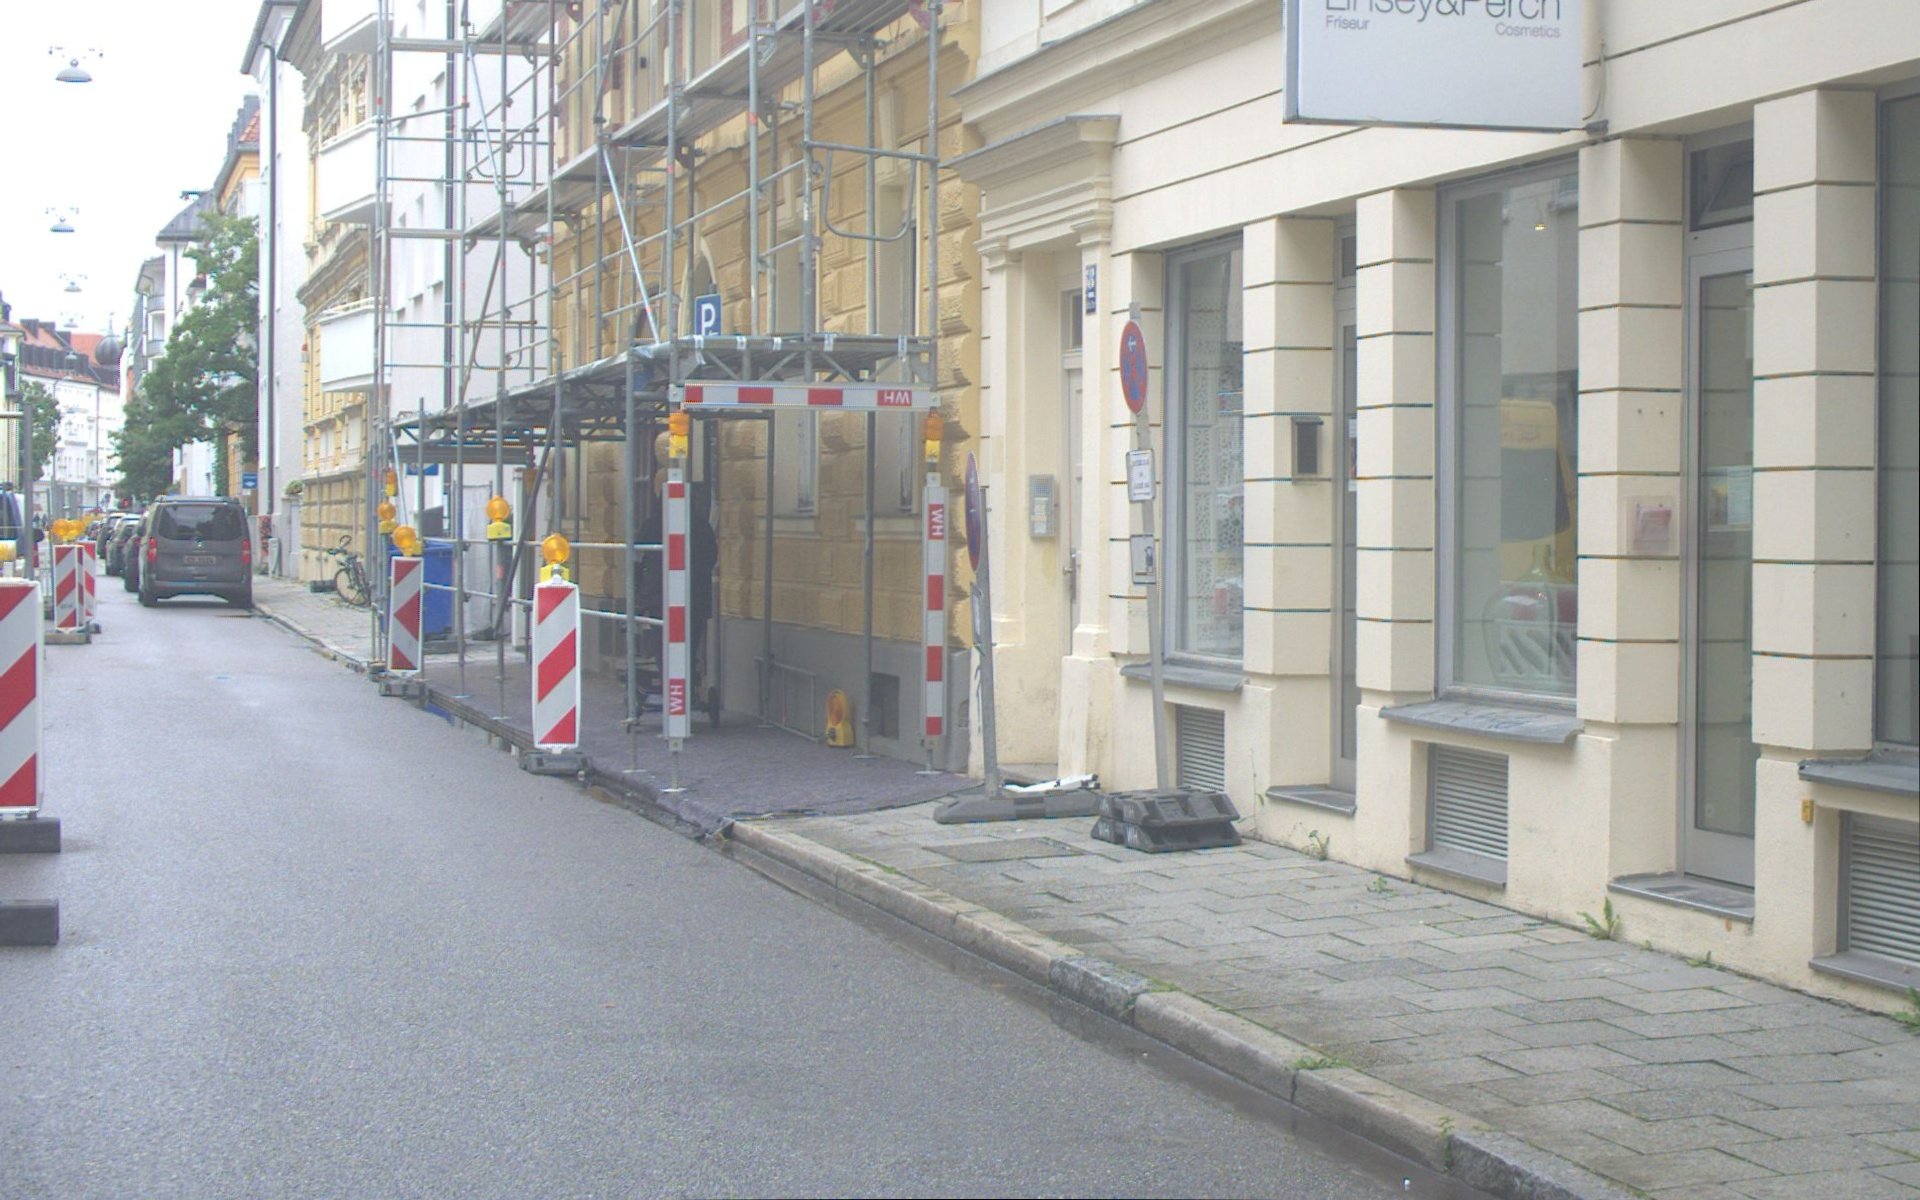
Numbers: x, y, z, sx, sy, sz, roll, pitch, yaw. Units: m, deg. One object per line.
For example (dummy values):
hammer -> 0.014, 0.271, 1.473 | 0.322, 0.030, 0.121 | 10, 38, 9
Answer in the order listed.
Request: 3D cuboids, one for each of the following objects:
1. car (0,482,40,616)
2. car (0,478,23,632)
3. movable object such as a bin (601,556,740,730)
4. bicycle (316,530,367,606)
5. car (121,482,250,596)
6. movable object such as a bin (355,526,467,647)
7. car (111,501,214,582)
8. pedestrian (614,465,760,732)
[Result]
car -> -14.732, -0.779, 50.866 | 1.904, 1.891, 5.091 | 0, 1, -18
car -> -13.167, -0.596, 44.847 | 1.726, 1.891, 5.511 | -2, 2, -15
movable object such as a bin -> -2.043, 0.289, 24.197 | 0.729, 1.137, 0.988 | -4, 2, -15
bicycle -> -10.032, -0.534, 55.717 | 0.638, 1.149, 1.916 | -3, 3, -14
car -> -13.966, -1.118, 61.846 | 1.993, 1.925, 4.661 | 2, 1, -15
movable object such as a bin -> -6.474, -0.174, 40.611 | 1.086, 1.341, 1.318 | -2, 2, -2
car -> -16.559, -1.232, 71.265 | 1.893, 1.635, 4.323 | 0, 2, -15
pedestrian -> -1.878, -0.024, 23.569 | 0.729, 1.746, 0.988 | -4, 2, -15
